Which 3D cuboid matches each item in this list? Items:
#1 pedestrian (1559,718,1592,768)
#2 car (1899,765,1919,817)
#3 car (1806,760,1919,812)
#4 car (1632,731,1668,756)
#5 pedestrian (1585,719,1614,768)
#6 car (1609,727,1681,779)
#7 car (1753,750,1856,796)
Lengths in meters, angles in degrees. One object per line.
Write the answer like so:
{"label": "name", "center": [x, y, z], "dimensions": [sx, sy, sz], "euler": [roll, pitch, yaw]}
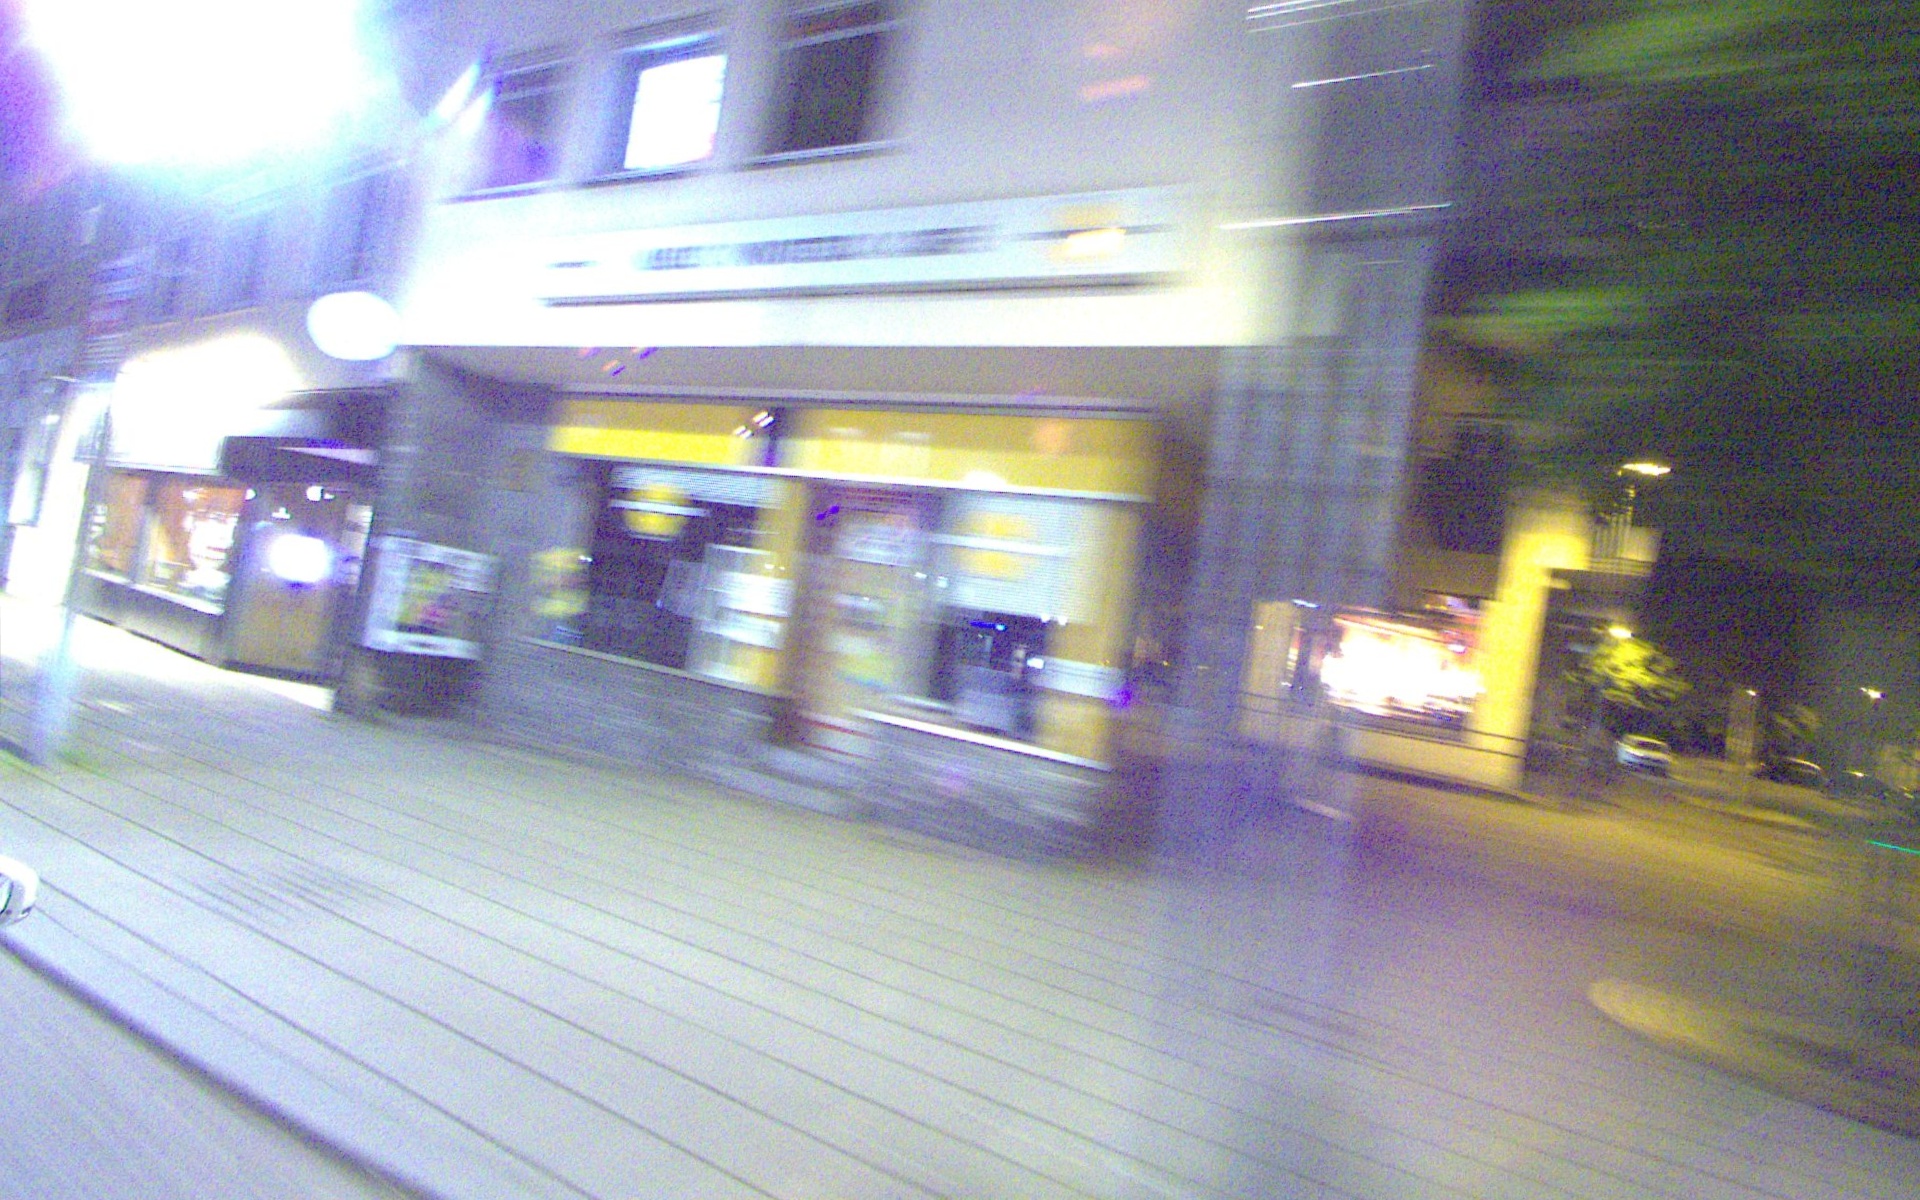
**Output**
{"label": "pedestrian", "center": [22.161, 5.148, 36.234], "dimensions": [0.847, 1.665, 0.790], "euler": [6, -3, 29]}
{"label": "car", "center": [38.153, 7.553, 37.438], "dimensions": [4.143, 1.888, 1.997], "euler": [9, -1, 32]}
{"label": "car", "center": [45.388, 9.286, 50.437], "dimensions": [4.144, 1.645, 1.878], "euler": [9, -1, 33]}
{"label": "car", "center": [63.018, 13.105, 91.974], "dimensions": [1.911, 1.713, 4.212], "euler": [9, -1, 27]}
{"label": "pedestrian", "center": [23.460, 5.252, 36.925], "dimensions": [0.703, 1.665, 0.613], "euler": [6, -3, 27]}
{"label": "car", "center": [29.704, 6.590, 43.745], "dimensions": [1.965, 1.713, 4.211], "euler": [9, -1, 29]}
{"label": "car", "center": [49.495, 10.089, 59.060], "dimensions": [4.142, 1.713, 1.998], "euler": [9, -1, 31]}
